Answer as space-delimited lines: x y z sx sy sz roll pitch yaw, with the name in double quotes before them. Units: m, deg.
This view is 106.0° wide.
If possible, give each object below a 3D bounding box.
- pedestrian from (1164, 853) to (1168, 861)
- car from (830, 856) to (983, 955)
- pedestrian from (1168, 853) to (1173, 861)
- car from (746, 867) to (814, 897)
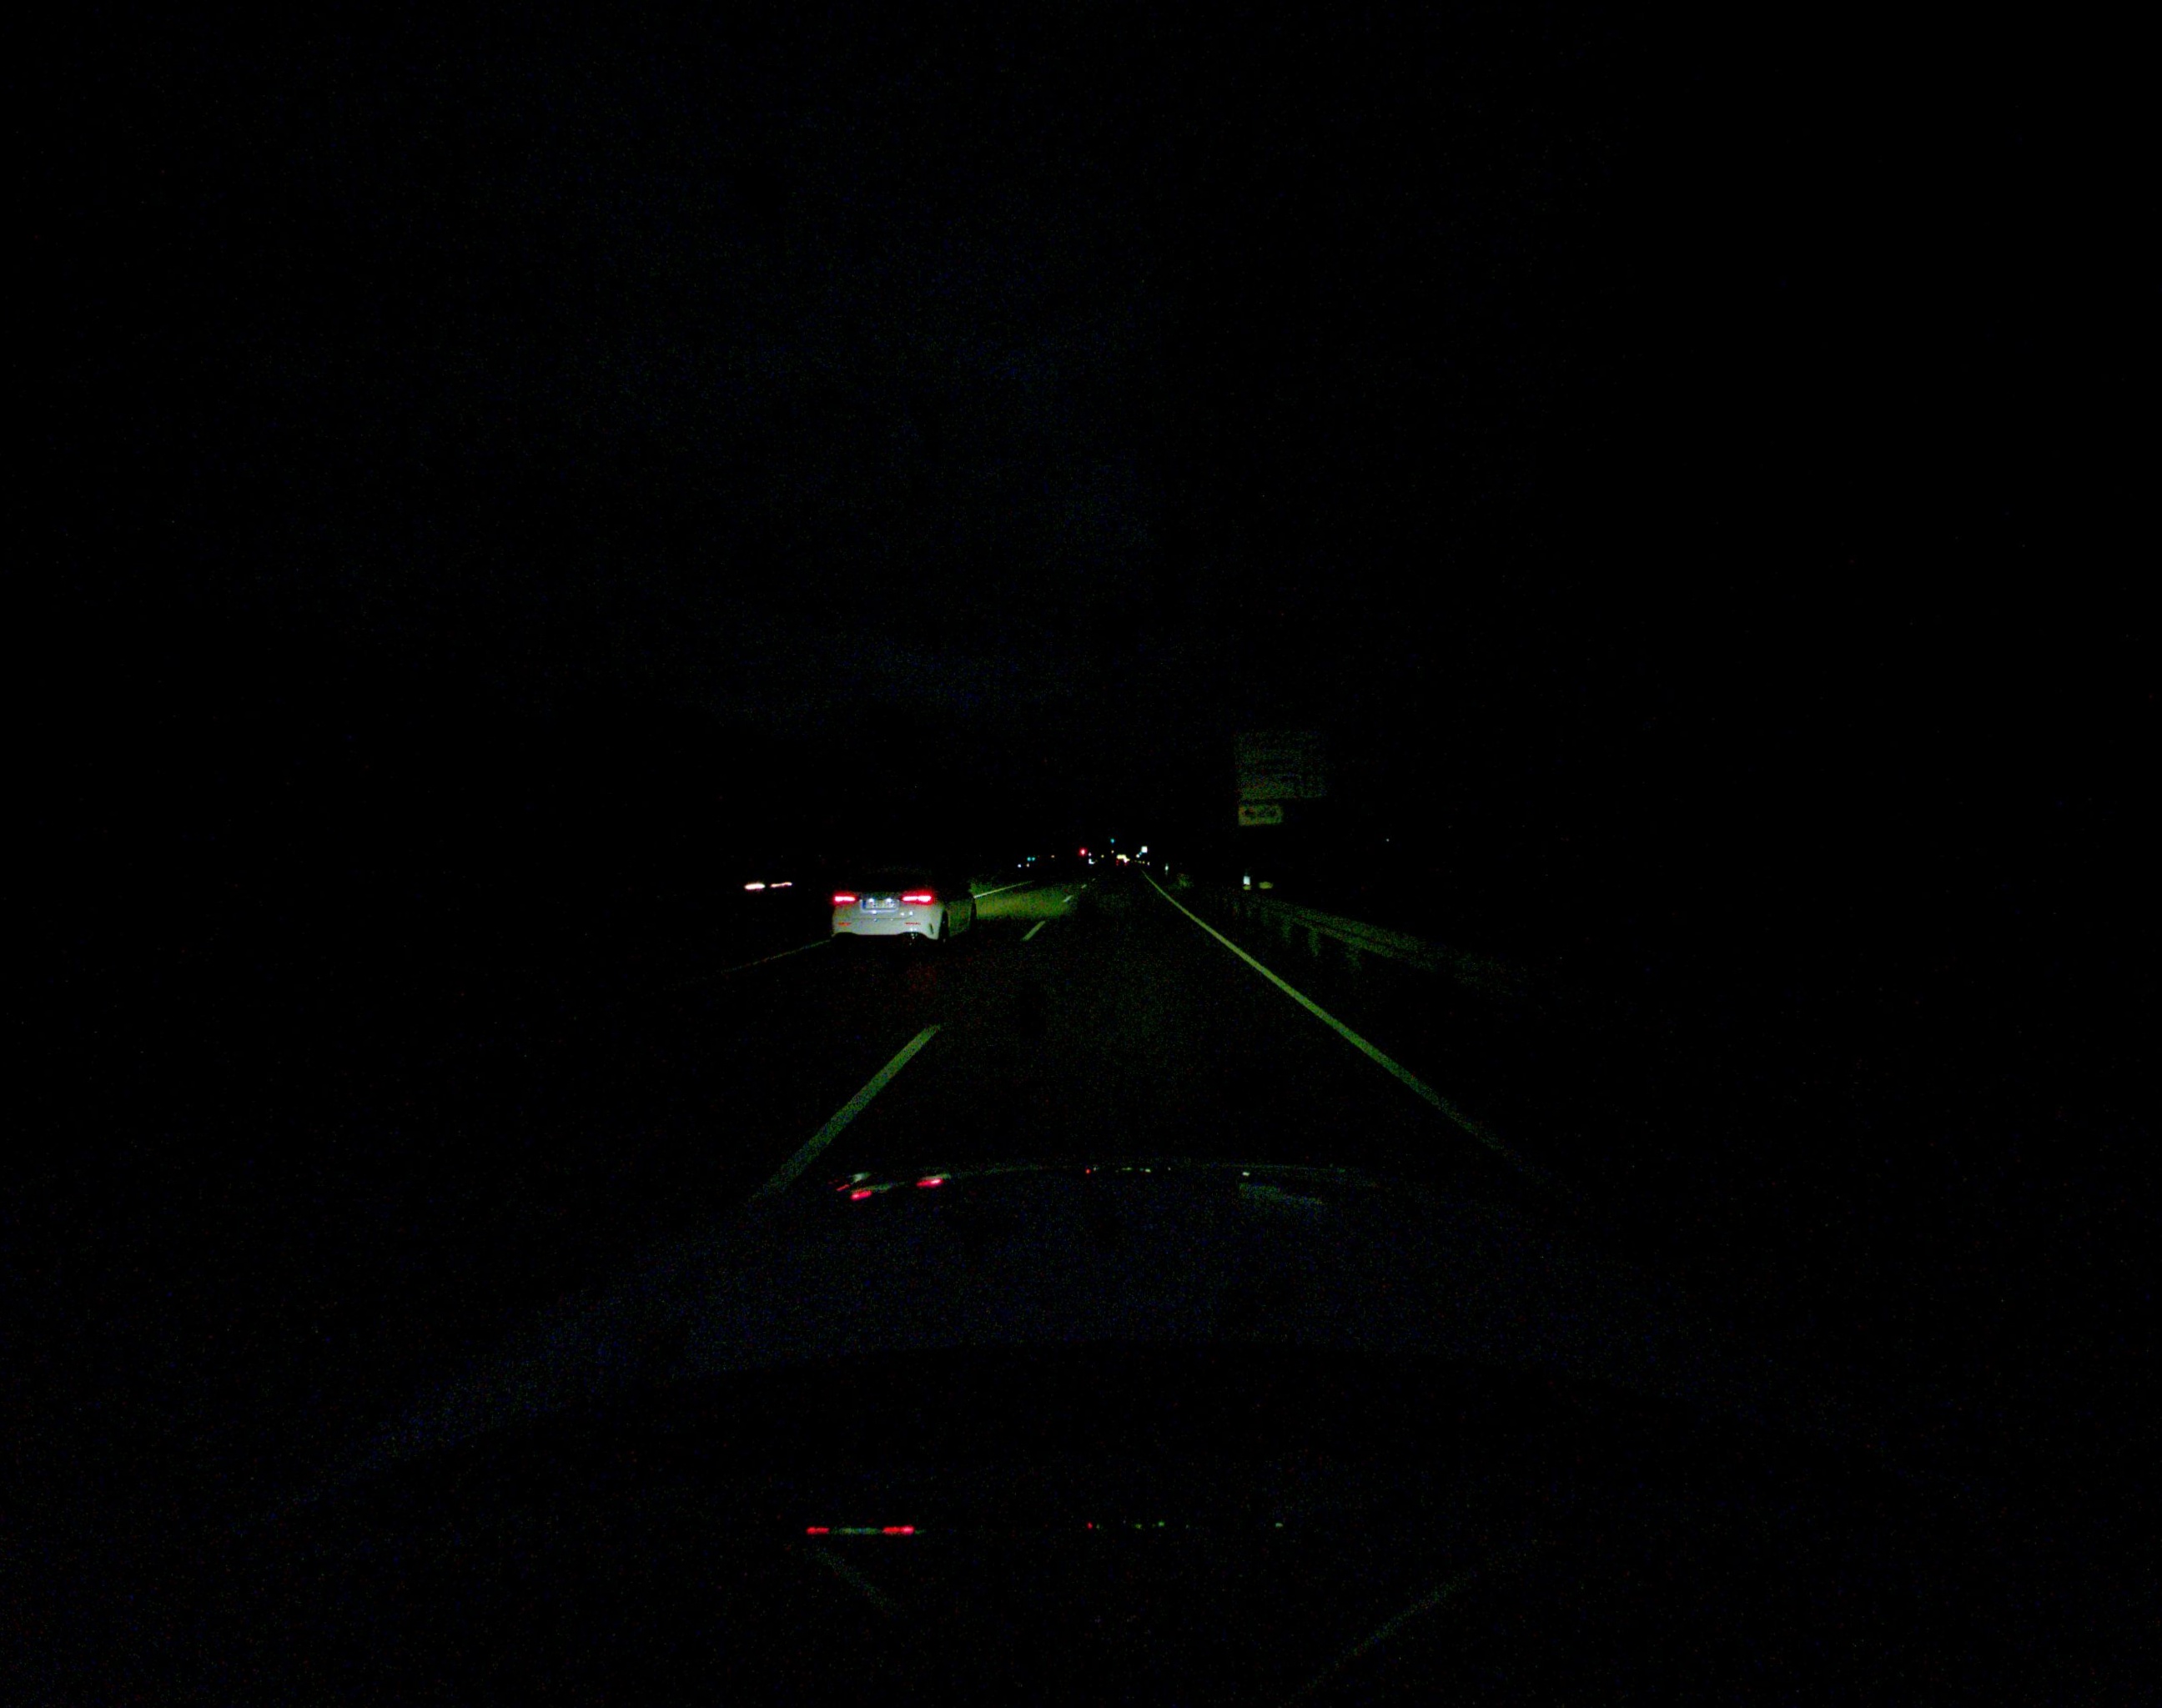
"pedestrian" 19.130 0.740 183.740 0.918 1.793 1.107 -1 0 3
"car" -2.924 0.784 14.628 1.636 1.490 4.581 -1 0 1
"pedestrian" 20.264 0.733 183.687 1.086 1.723 1.261 -1 -1 2
"car" -14.509 1.309 39.468 1.622 1.323 3.943 -1 0 3
